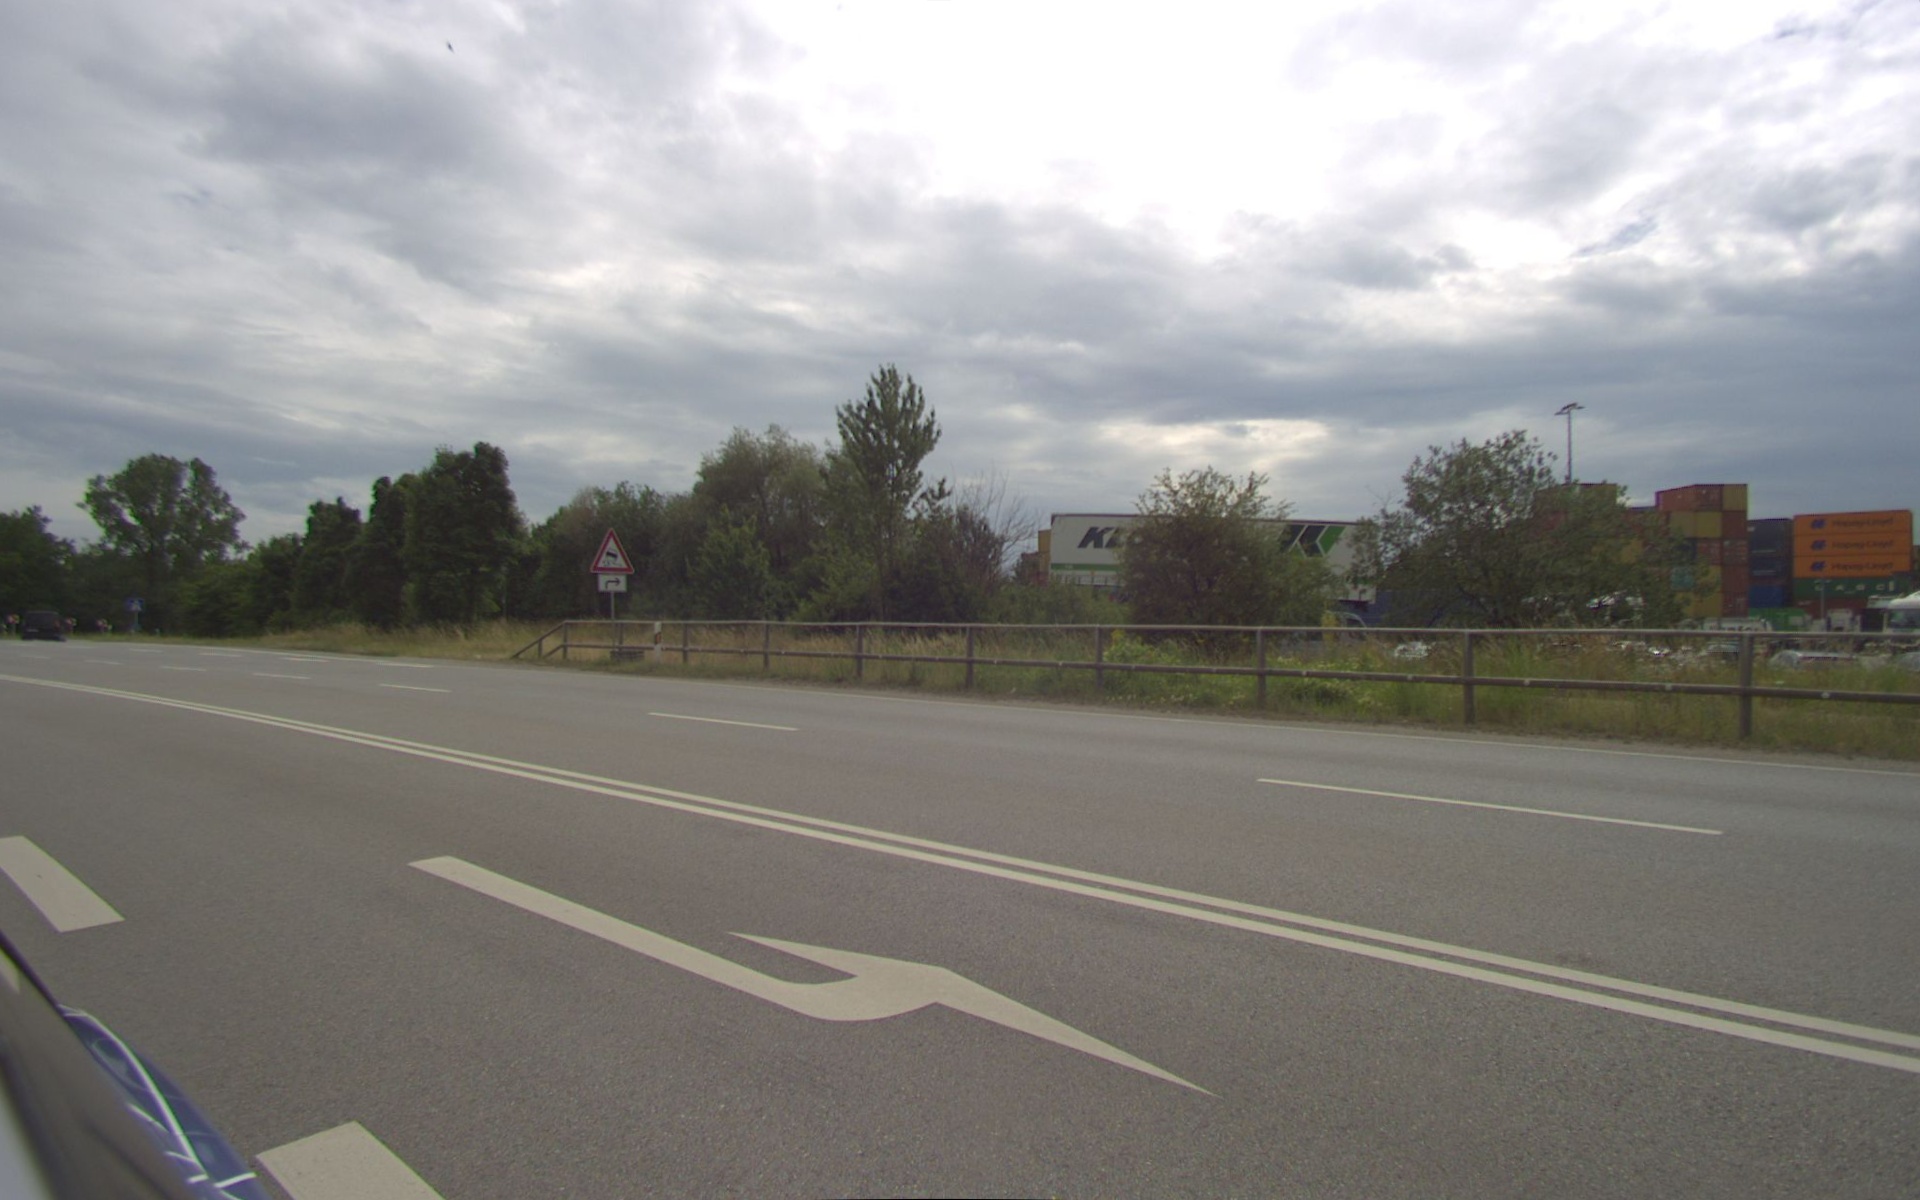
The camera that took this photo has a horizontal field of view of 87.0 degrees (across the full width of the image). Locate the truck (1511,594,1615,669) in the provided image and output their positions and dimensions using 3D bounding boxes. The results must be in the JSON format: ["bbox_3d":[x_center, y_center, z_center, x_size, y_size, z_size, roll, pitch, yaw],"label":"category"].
[{"bbox_3d":[35.853,1.858,60.270,4.787,4.325,2.198,-1,-1,1],"label":"truck"}]

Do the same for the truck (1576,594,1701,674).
[{"bbox_3d":[37.792,1.865,56.499,5.355,4.325,2.198,-1,-1,1],"label":"truck"}]

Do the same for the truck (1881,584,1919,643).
[{"bbox_3d":[47.489,0.600,46.998,6.574,2.703,2.648,-1,-1,6],"label":"truck"}]

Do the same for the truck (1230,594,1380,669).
[{"bbox_3d":[21.313,1.925,62.660,8.288,4.325,3.208,-1,-1,31],"label":"truck"}]

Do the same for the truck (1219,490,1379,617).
[{"bbox_3d":[14.186,-1.846,42.782,6.137,5.034,2.789,-1,0,17],"label":"truck"}]

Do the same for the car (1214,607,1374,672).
[{"bbox_3d":[10.444,1.186,31.670,4.467,1.890,2.007,-1,-1,-22],"label":"car"}]

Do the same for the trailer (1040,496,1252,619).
[{"bbox_3d":[8.208,-1.743,44.669,8.907,5.034,2.791,-1,0,17],"label":"trailer"}]

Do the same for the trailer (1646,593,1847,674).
[{"bbox_3d":[43.704,1.826,56.389,9.248,4.325,2.198,-1,-1,1],"label":"trailer"}]

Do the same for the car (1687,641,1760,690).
[{"bbox_3d":[30.885,2.615,41.037,1.837,1.732,3.959,-1,-1,30],"label":"car"}]

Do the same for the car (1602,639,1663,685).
[{"bbox_3d":[28.643,2.614,43.207,1.837,1.732,3.959,-1,-1,30],"label":"car"}]

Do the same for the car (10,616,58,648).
[{"bbox_3d":[-55.002,1.861,60.168,1.969,1.811,4.326,0,-1,-40],"label":"car"}]

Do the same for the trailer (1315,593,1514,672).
[{"bbox_3d":[26.573,1.878,59.455,10.367,4.325,3.208,-1,-1,31],"label":"trailer"}]

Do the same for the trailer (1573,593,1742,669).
[{"bbox_3d":[41.380,1.820,60.183,8.382,4.325,2.198,-1,-1,1],"label":"trailer"}]

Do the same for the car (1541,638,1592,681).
[{"bbox_3d":[27.052,2.613,45.218,1.837,1.732,3.959,-1,-1,30],"label":"car"}]
